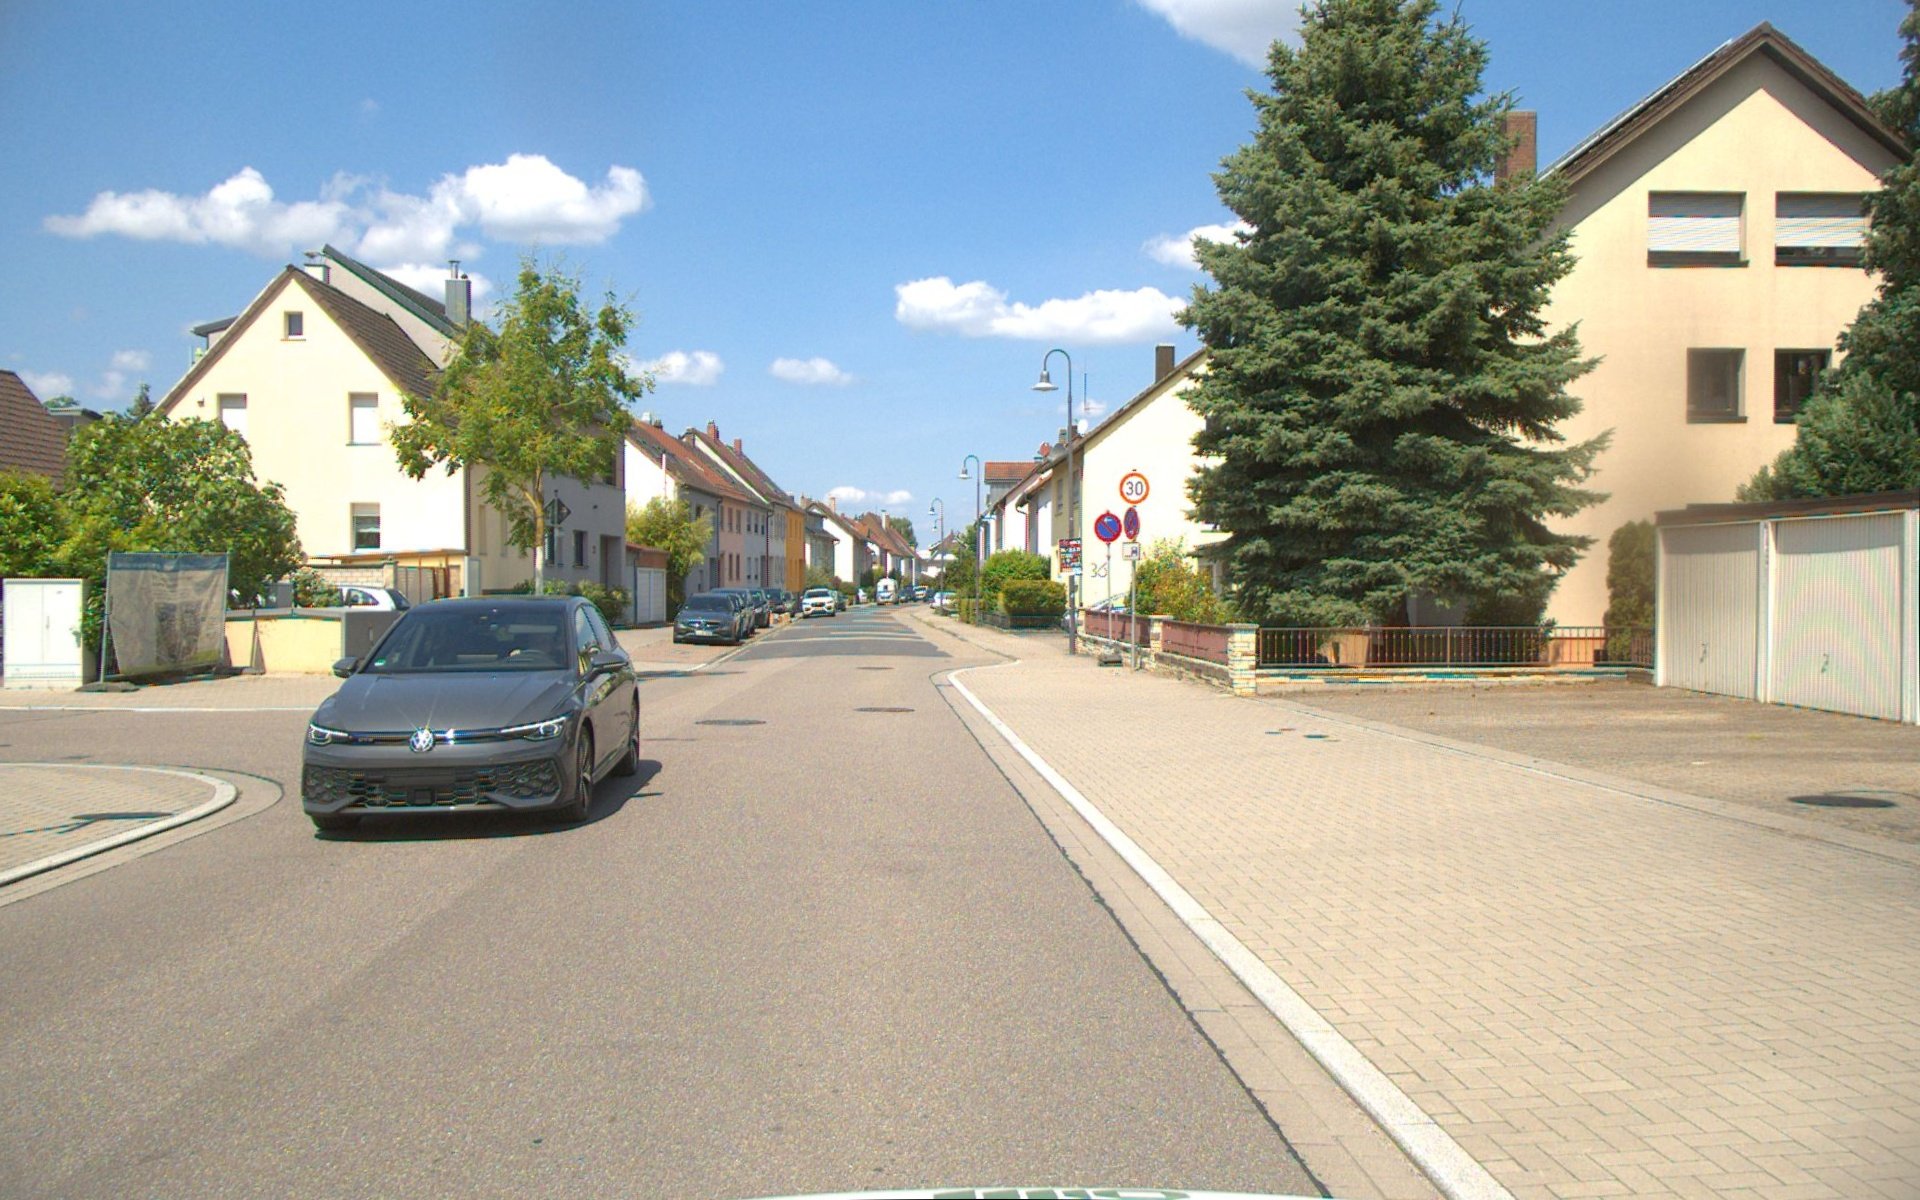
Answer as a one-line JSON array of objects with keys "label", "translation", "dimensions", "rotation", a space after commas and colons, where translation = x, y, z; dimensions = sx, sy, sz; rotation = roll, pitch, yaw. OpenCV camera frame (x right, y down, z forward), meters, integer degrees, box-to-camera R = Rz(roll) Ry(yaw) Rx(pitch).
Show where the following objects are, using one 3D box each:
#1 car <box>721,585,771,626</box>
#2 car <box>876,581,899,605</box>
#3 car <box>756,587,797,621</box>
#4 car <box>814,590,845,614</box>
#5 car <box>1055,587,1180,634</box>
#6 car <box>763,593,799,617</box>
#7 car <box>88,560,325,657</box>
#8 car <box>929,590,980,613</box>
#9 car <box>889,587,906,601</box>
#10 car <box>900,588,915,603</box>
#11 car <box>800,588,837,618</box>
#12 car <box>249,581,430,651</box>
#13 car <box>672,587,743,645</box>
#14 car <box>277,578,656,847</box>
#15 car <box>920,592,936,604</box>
[{"label": "car", "translation": [-9.084, 0.238, 70.427], "dimensions": [1.744, 1.637, 3.998], "rotation": [2, 0, -2]}, {"label": "car", "translation": [-7.340, -0.668, 168.091], "dimensions": [2.003, 2.352, 3.771], "rotation": [1, 0, 1]}, {"label": "car", "translation": [-9.420, 0.180, 85.205], "dimensions": [1.774, 1.637, 3.998], "rotation": [2, 0, -2]}, {"label": "car", "translation": [-9.401, 0.142, 119.407], "dimensions": [1.812, 1.688, 4.000], "rotation": [2, 0, 0]}, {"label": "car", "translation": [5.198, 0.335, 54.795], "dimensions": [3.907, 1.498, 1.745], "rotation": [-1, 0, -3]}, {"label": "car", "translation": [-10.509, 0.296, 97.329], "dimensions": [1.638, 1.359, 3.722], "rotation": [2, 0, 0]}, {"label": "car", "translation": [-15.373, 0.161, 33.934], "dimensions": [3.906, 1.831, 1.999], "rotation": [1, 0, -2]}, {"label": "car", "translation": [-0.373, 0.118, 114.718], "dimensions": [3.453, 1.490, 1.627], "rotation": [1, -1, -3]}, {"label": "car", "translation": [-7.195, -0.642, 190.486], "dimensions": [1.656, 1.530, 3.771], "rotation": [1, 0, 1]}, {"label": "car", "translation": [-6.268, -0.575, 198.016], "dimensions": [1.656, 1.689, 3.771], "rotation": [1, 0, 1]}, {"label": "car", "translation": [-8.398, 0.159, 98.425], "dimensions": [1.812, 1.688, 4.000], "rotation": [2, 0, 0]}, {"label": "car", "translation": [-14.302, 0.348, 38.261], "dimensions": [3.452, 1.496, 1.792], "rotation": [1, 1, 1]}, {"label": "car", "translation": [-7.508, 0.452, 49.511], "dimensions": [1.781, 1.458, 4.135], "rotation": [4, 1, -6]}, {"label": "car", "translation": [-3.338, 0.662, 11.984], "dimensions": [1.728, 1.549, 4.046], "rotation": [-2, 0, -4]}, {"label": "car", "translation": [-3.688, -0.213, 191.506], "dimensions": [1.656, 1.365, 3.771], "rotation": [1, 0, 1]}]
